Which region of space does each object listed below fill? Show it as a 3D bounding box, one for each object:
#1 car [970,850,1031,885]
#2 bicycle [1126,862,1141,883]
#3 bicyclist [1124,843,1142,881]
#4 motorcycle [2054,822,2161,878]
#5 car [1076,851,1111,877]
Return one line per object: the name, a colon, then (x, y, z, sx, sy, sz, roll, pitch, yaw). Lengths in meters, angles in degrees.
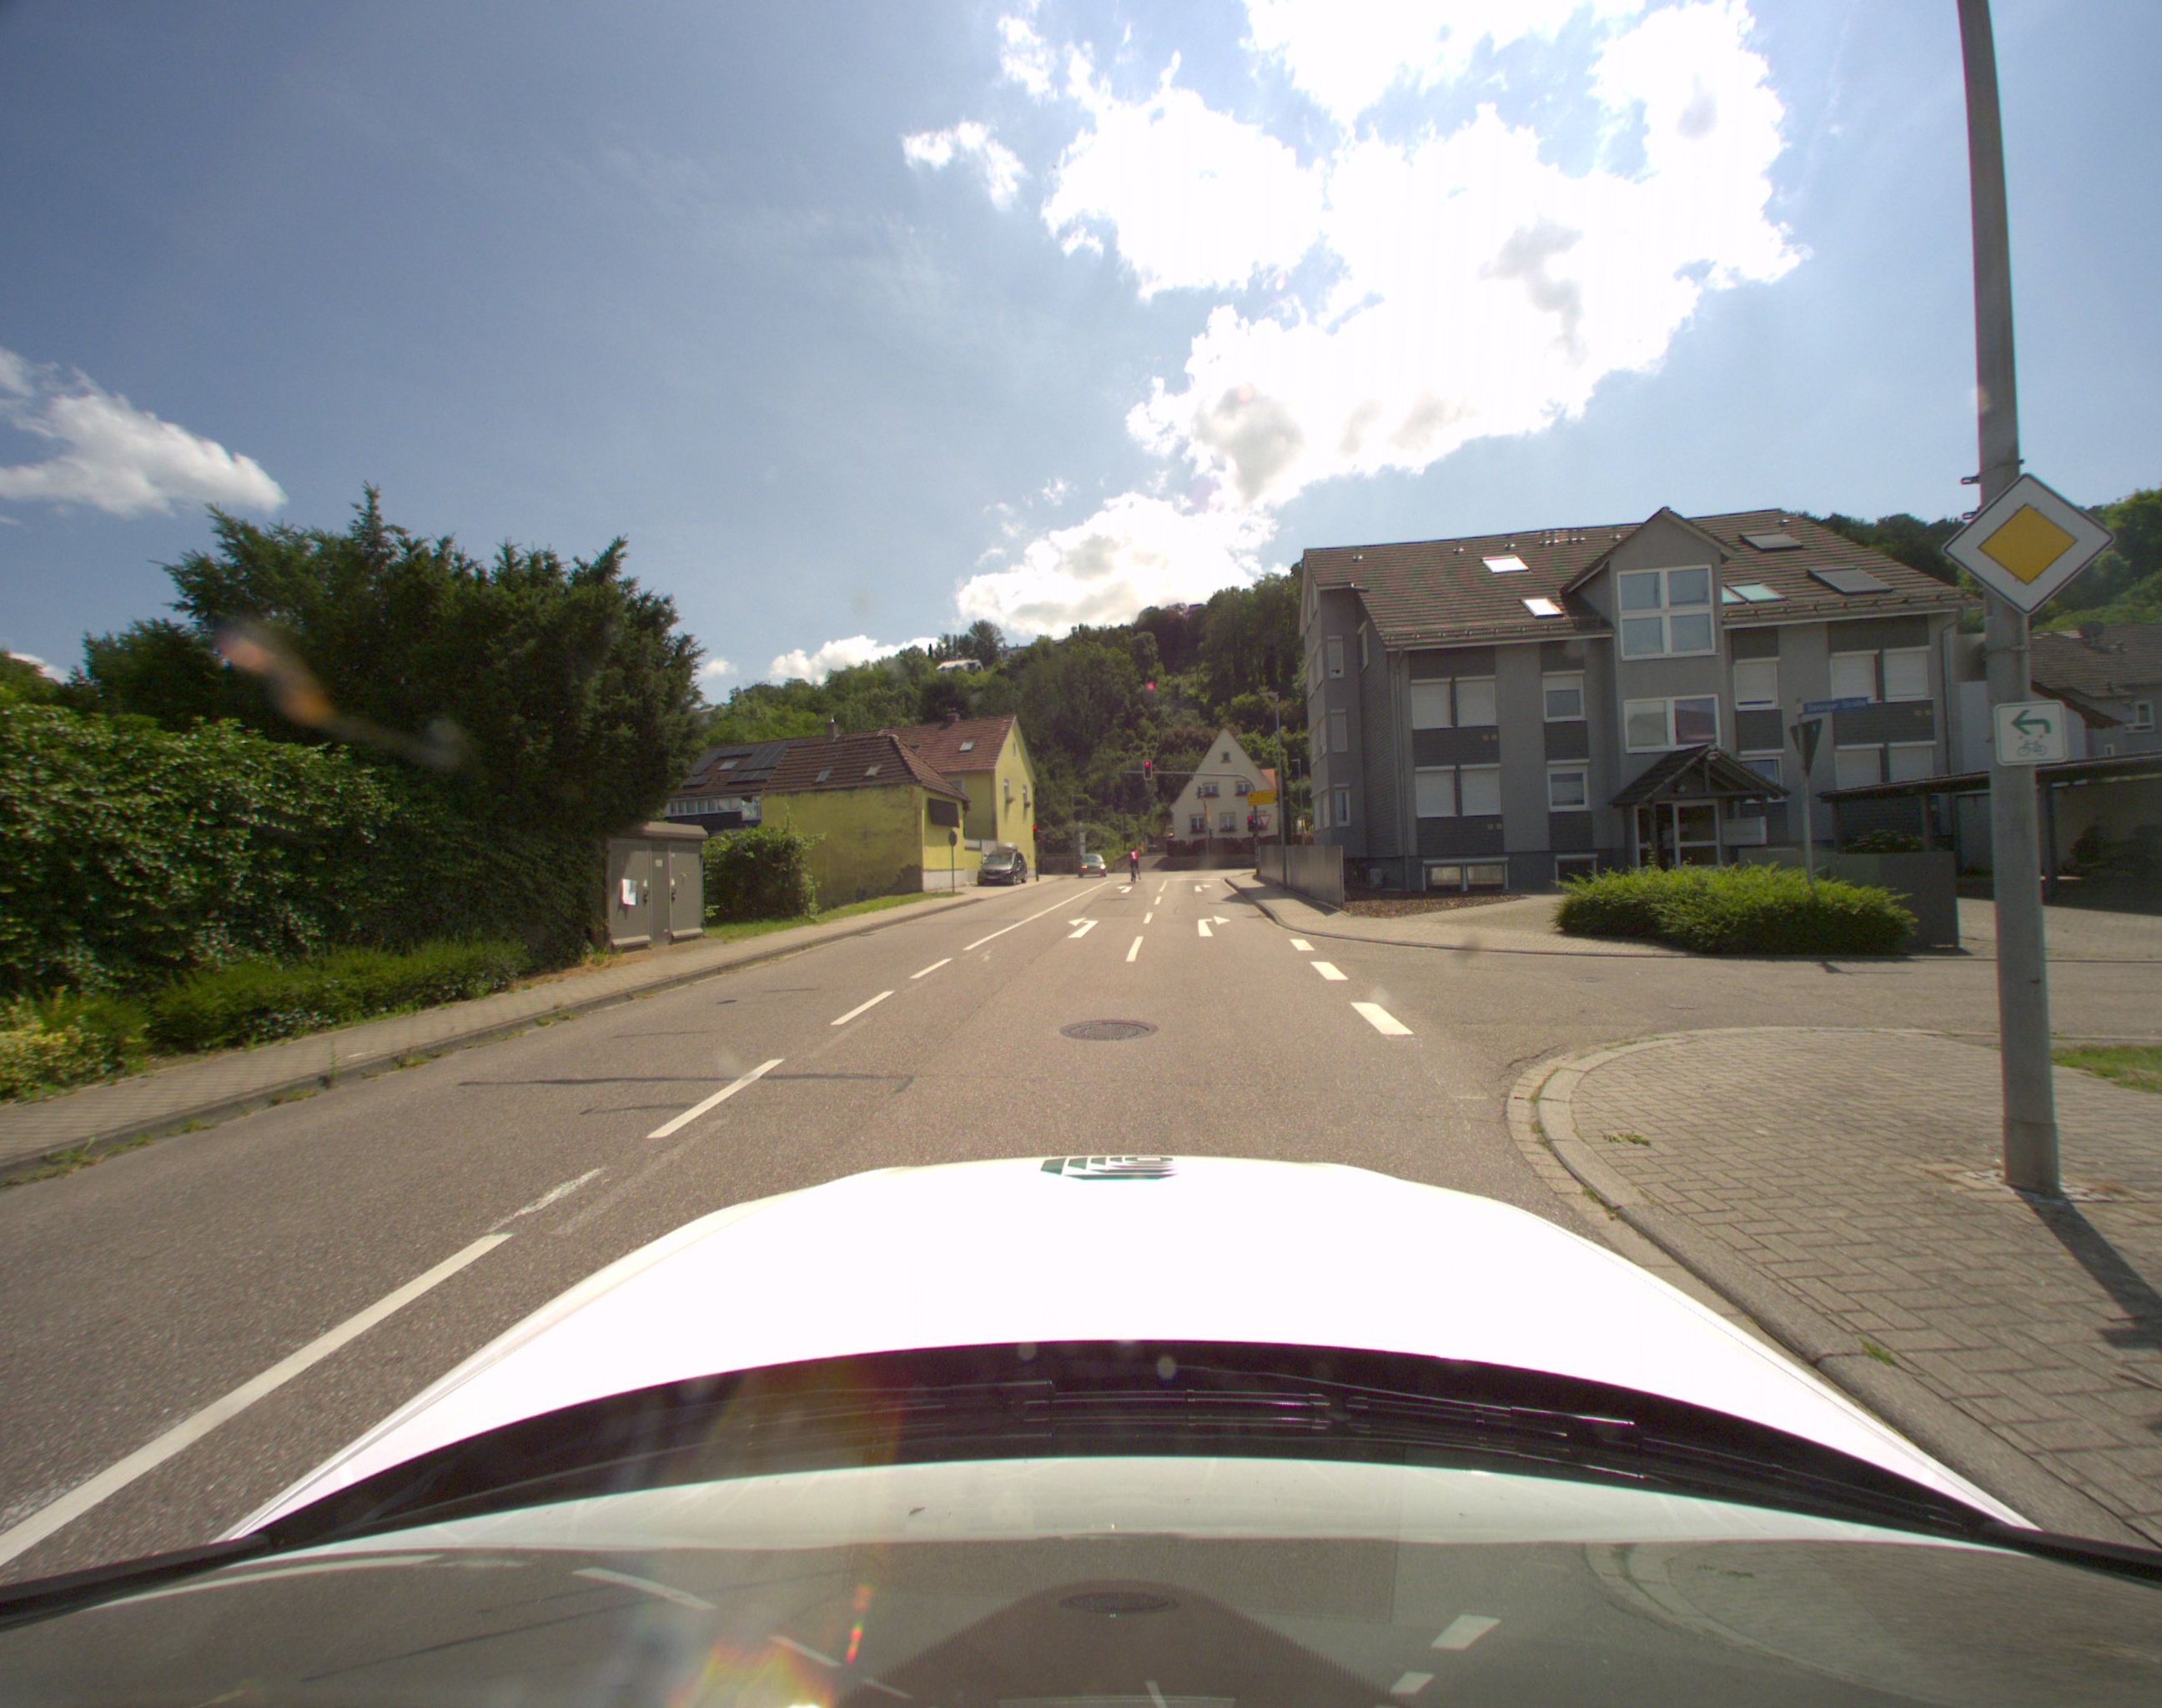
car: (-3.919, 0.611, 40.423, 1.983, 1.635, 4.639, -1, 0, 7)
bicycle: (2.396, 0.847, 37.250, 0.627, 0.905, 1.659, -1, 0, 5)
bicyclist: (2.390, 0.361, 37.235, 0.757, 1.664, 0.870, -1, 0, 5)
motorcycle: (22.994, -0.118, 18.093, 0.644, 1.163, 1.958, -2, 2, 9)
car: (0.700, 0.590, 49.118, 1.776, 1.433, 3.867, -4, 0, -3)
